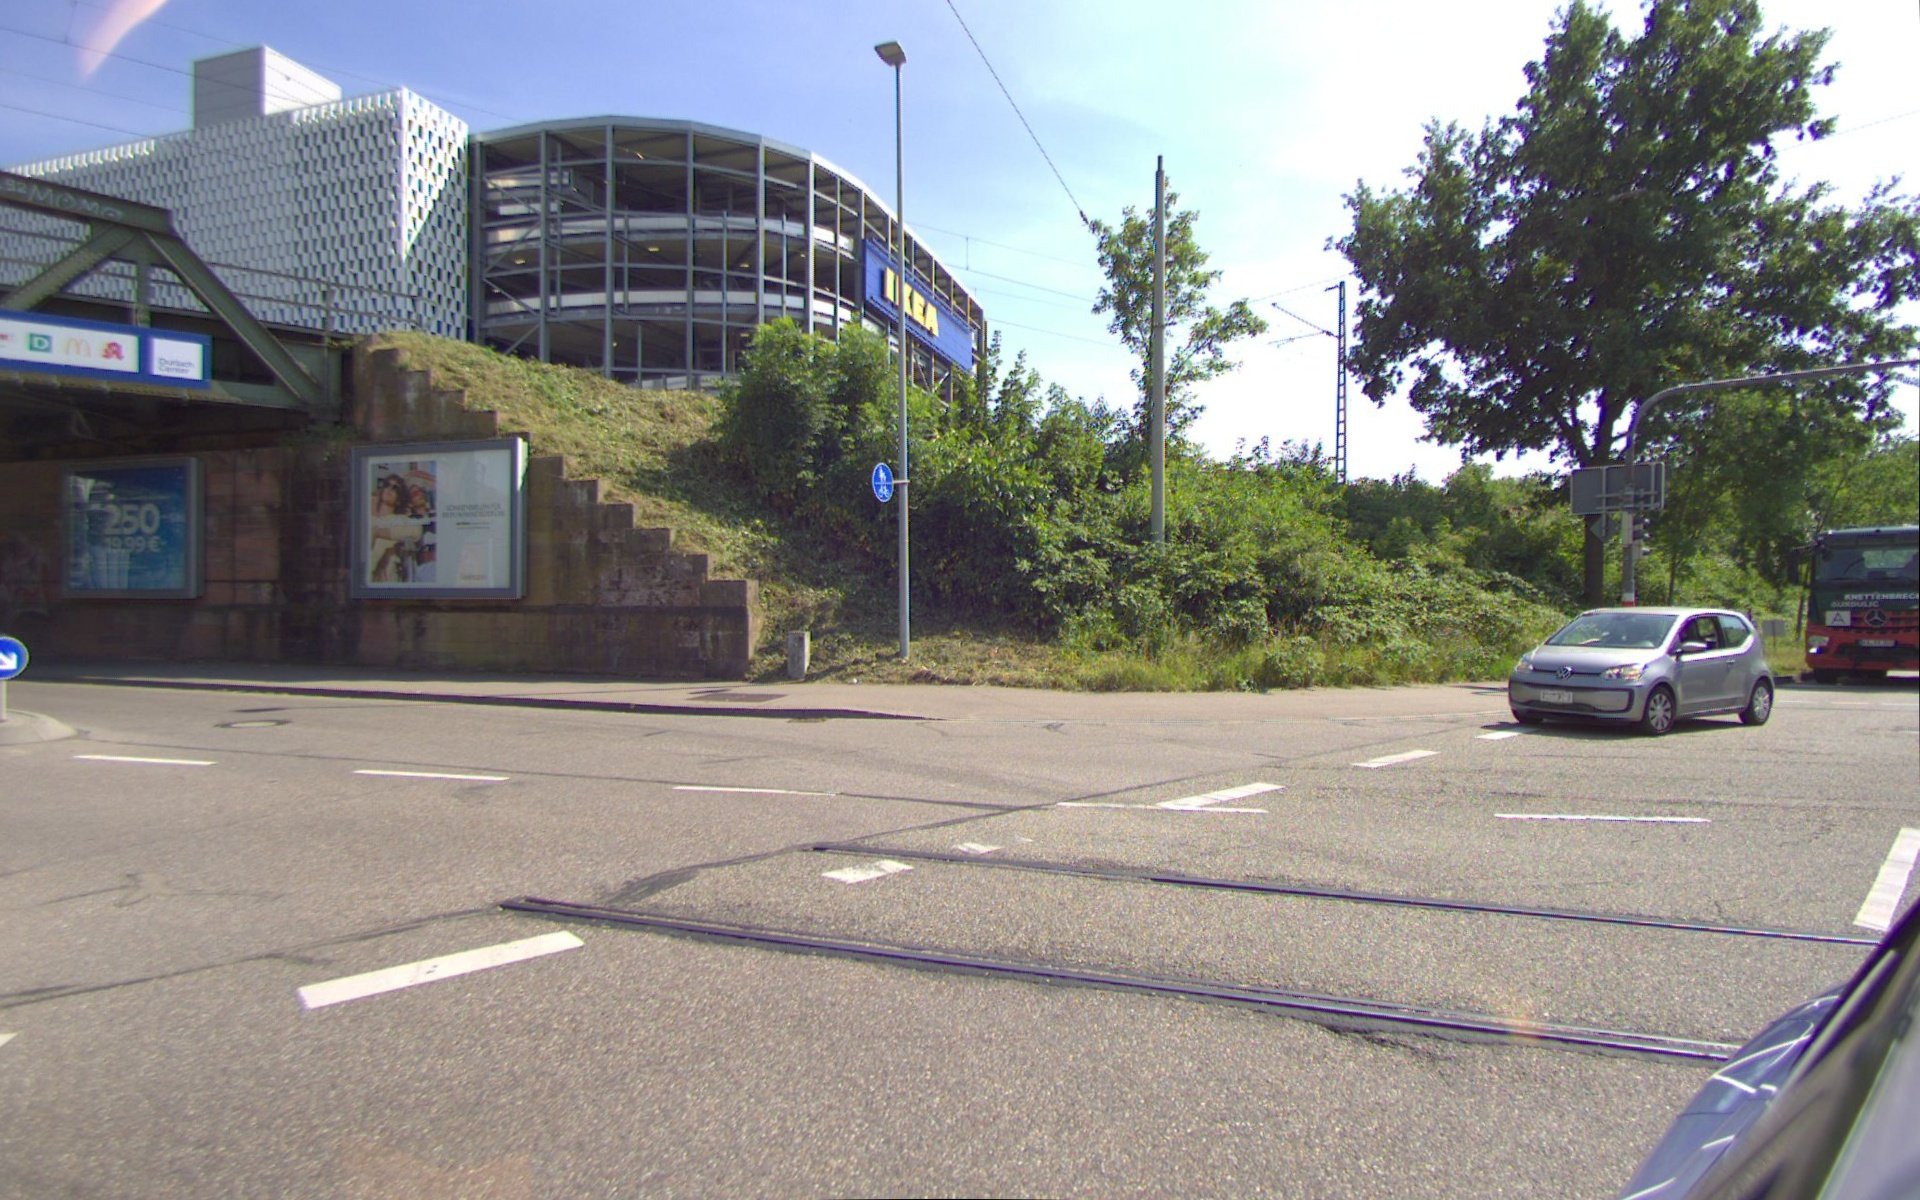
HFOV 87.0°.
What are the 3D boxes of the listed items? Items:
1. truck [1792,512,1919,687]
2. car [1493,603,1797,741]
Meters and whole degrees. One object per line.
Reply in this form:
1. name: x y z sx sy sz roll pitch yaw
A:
1. truck: 20.653 -0.009 21.863 7.348 3.308 2.774 0 0 -40
2. car: 8.449 0.770 12.442 3.605 1.455 1.708 0 0 -30
